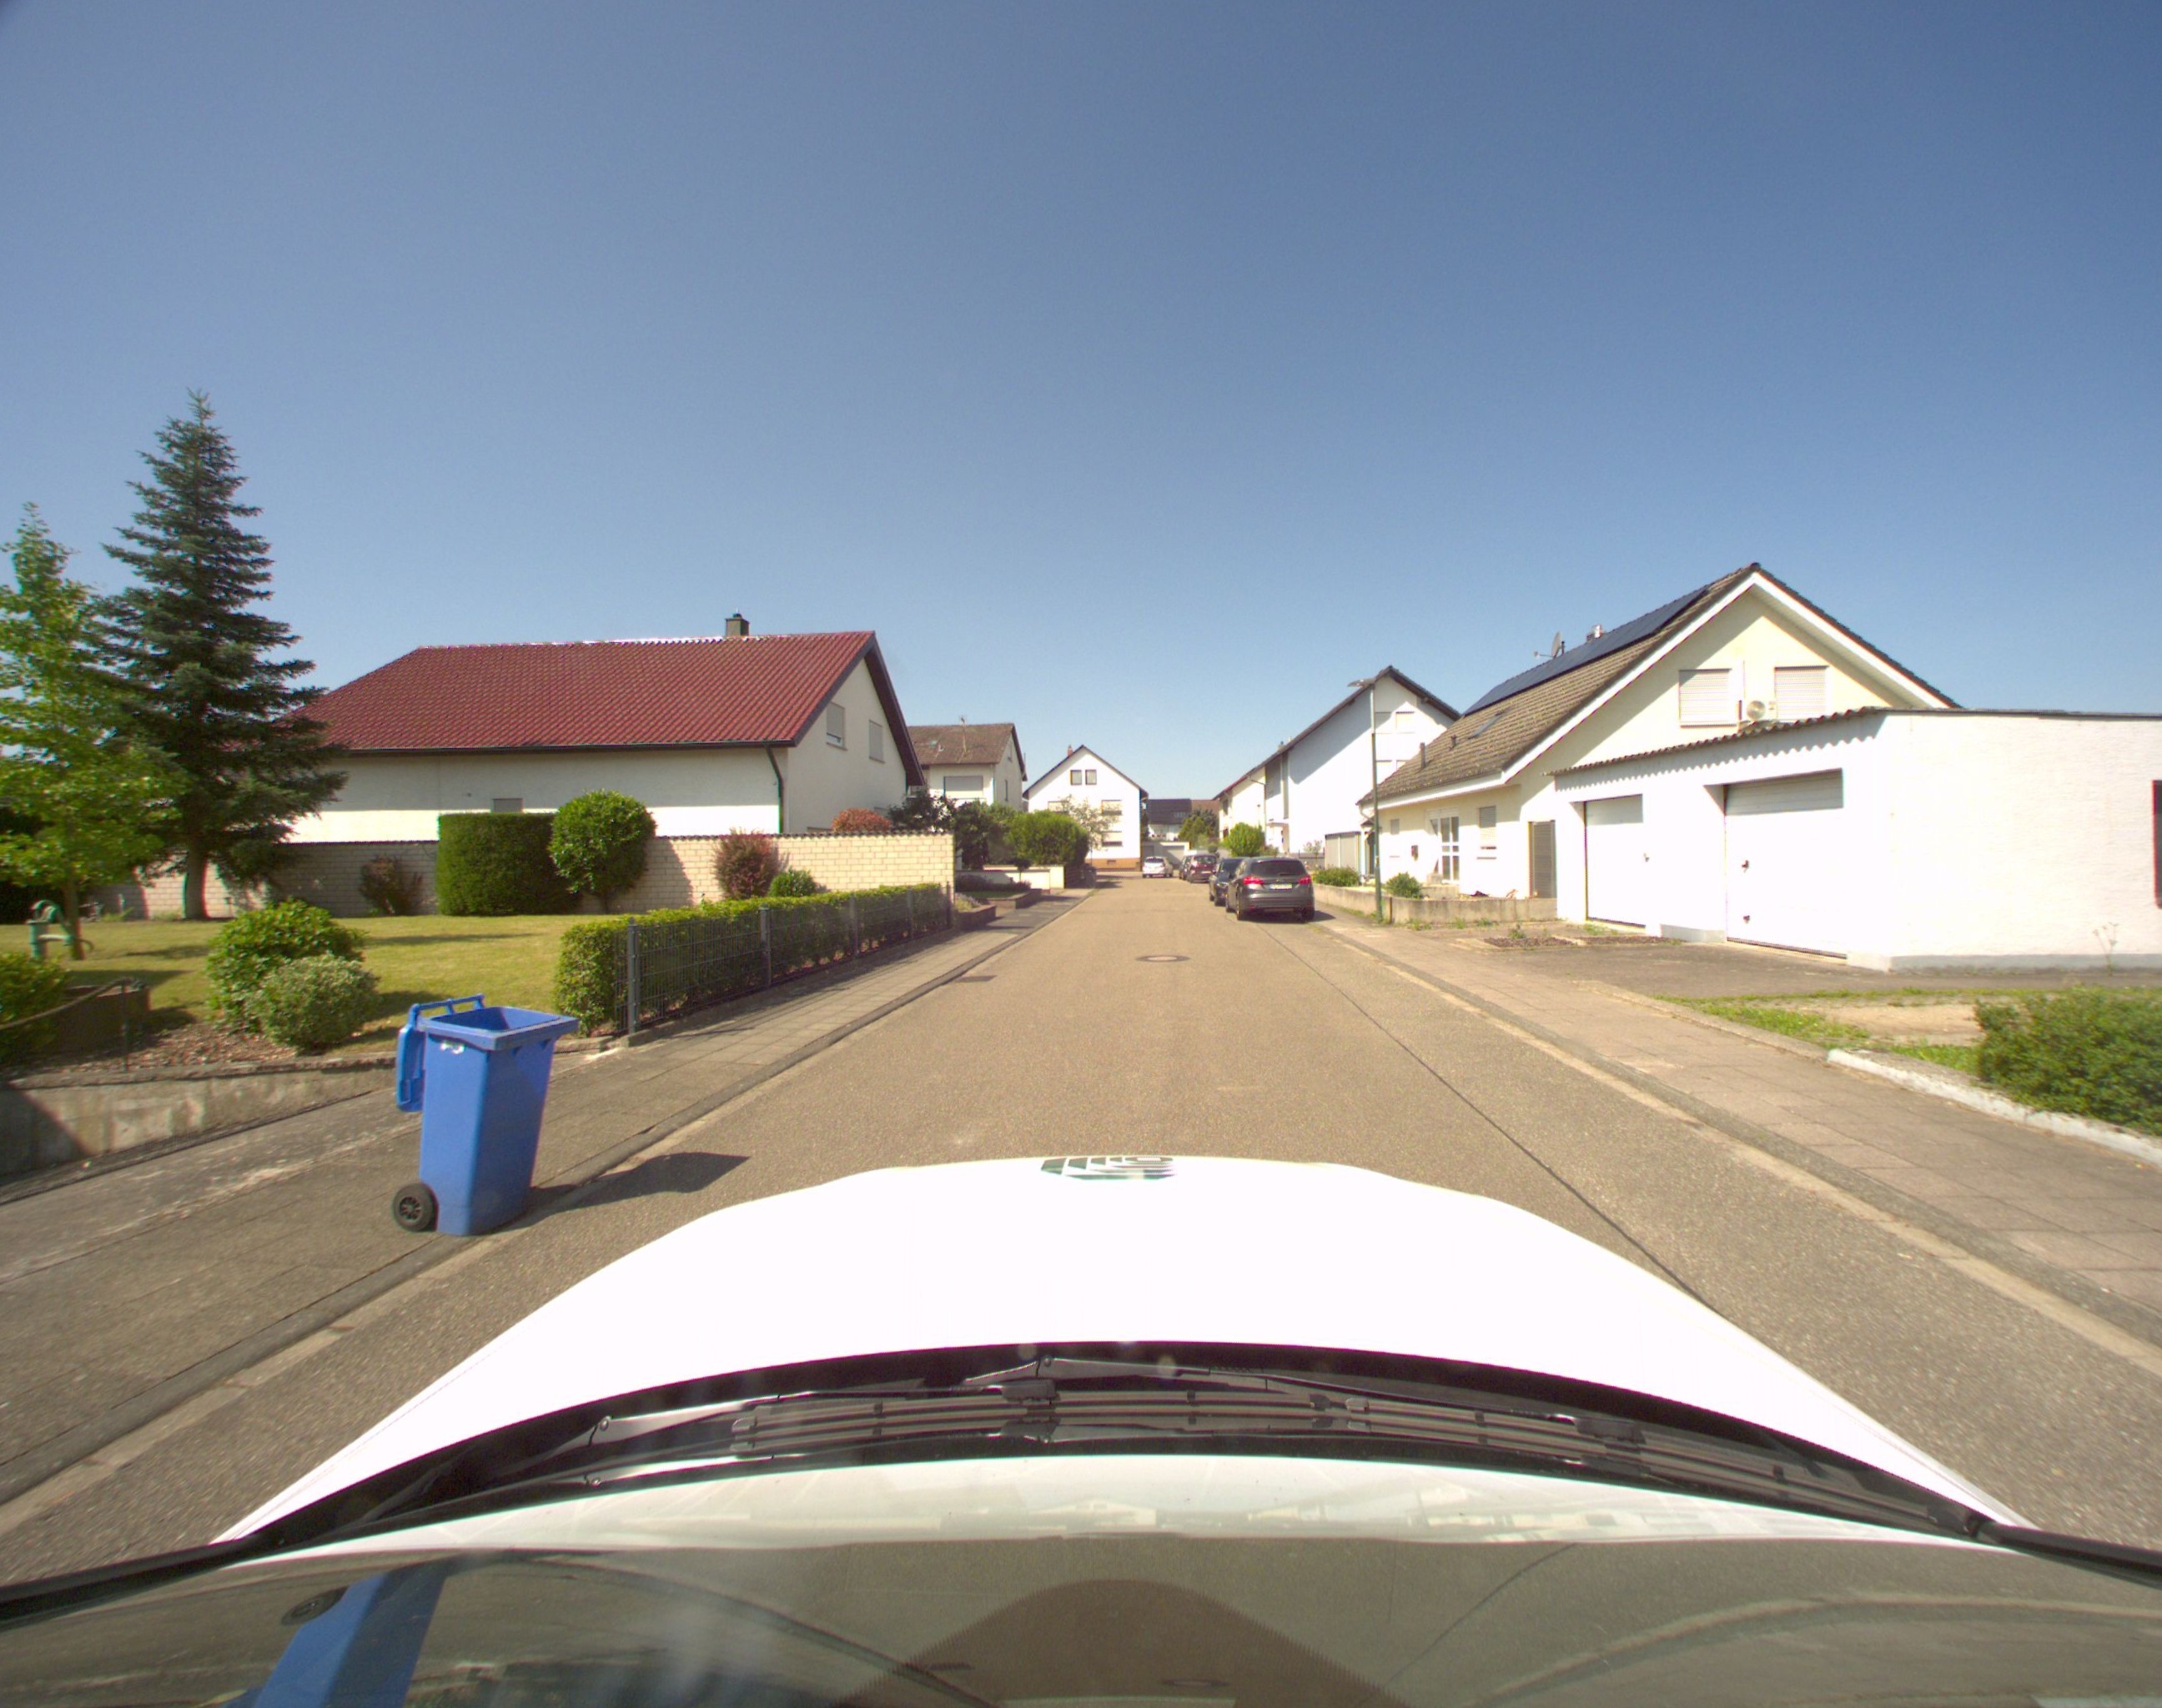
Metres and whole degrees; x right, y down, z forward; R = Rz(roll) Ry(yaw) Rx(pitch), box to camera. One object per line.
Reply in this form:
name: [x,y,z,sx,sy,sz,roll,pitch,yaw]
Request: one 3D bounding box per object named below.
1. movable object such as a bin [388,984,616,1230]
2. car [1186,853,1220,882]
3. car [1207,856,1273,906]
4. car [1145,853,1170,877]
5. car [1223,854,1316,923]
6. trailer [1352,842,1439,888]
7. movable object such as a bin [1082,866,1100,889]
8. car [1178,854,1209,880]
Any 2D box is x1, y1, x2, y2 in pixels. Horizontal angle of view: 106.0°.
movable object such as a bin: [-2.588,1.098,3.694,0.580,0.916,0.599,0,0,5]
car: [6.932,0.733,46.471,1.637,1.581,4.153,-1,0,5]
car: [4.981,0.793,26.026,1.708,1.438,4.511,-1,0,6]
car: [5.320,0.755,56.852,1.637,1.581,3.814,-1,0,5]
car: [4.547,0.771,20.144,1.635,1.478,4.004,1,1,4]
trailer: [12.044,0.422,31.325,2.820,1.690,1.404,-1,0,5]
movable object such as a bin: [0.495,1.119,39.368,0.815,1.063,0.611,-1,0,4]
car: [7.101,0.784,51.713,1.638,1.546,4.050,-1,0,3]
